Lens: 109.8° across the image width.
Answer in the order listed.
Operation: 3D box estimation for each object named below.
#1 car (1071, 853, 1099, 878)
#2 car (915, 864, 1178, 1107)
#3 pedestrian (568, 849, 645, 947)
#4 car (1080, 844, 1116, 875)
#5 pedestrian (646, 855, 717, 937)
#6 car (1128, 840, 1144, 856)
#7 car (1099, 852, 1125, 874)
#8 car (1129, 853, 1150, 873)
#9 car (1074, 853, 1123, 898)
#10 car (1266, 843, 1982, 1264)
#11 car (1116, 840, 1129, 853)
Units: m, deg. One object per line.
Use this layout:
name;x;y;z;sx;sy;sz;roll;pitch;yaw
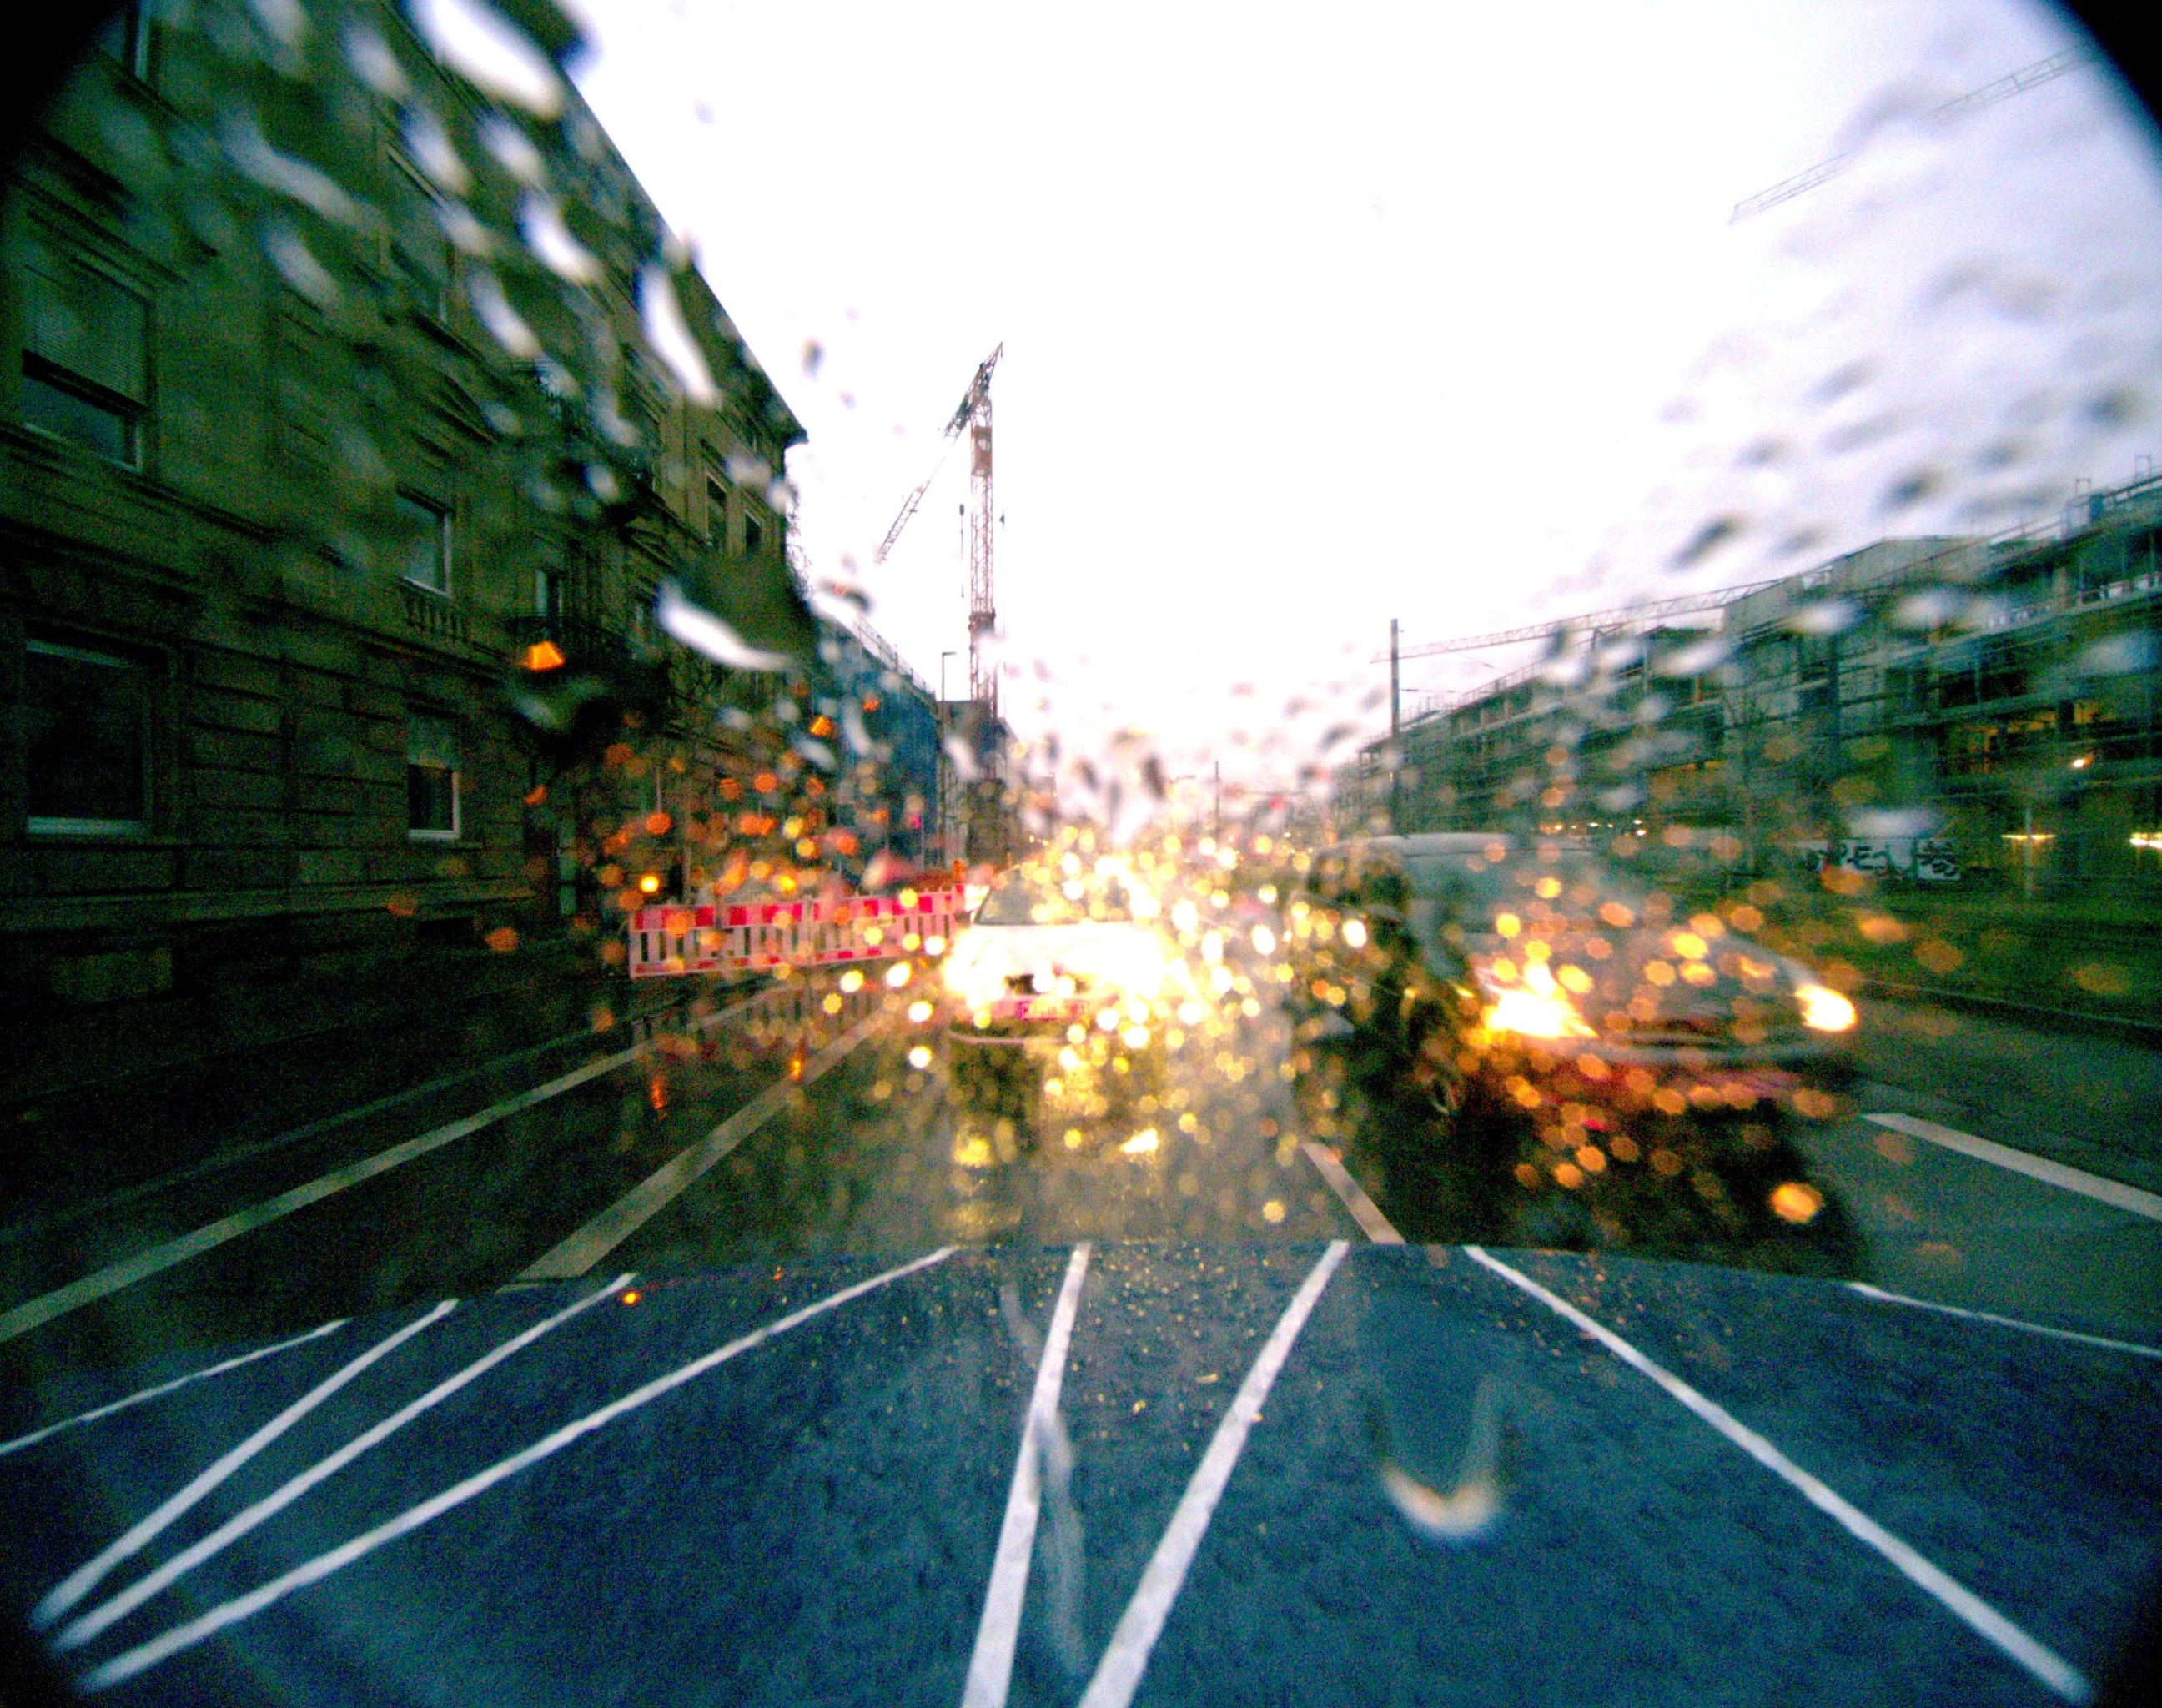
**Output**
car;0.238;0.740;50.651;1.769;1.504;3.899;-2;1;0
car;-0.247;0.949;7.251;1.769;1.504;3.899;-2;1;0
pedestrian;-8.208;0.739;13.166;0.870;1.663;0.707;0;1;5
car;0.869;0.256;40.823;1.769;1.504;3.899;-2;1;0
pedestrian;-7.681;0.780;14.647;0.870;1.536;0.929;0;1;1
car;6.238;-0.705;86.736;1.768;1.614;3.900;-2;1;4
car;2.367;0.667;58.750;1.769;1.504;3.899;-2;1;0
car;5.306;0.756;69.069;1.768;1.614;3.900;-2;1;4
car;0.643;0.802;29.946;1.769;1.504;3.899;-2;1;0
car;2.678;0.792;5.096;1.815;1.636;4.134;-1;0;0
car;5.828;-1.048;106.429;1.768;1.614;3.900;-2;1;4
